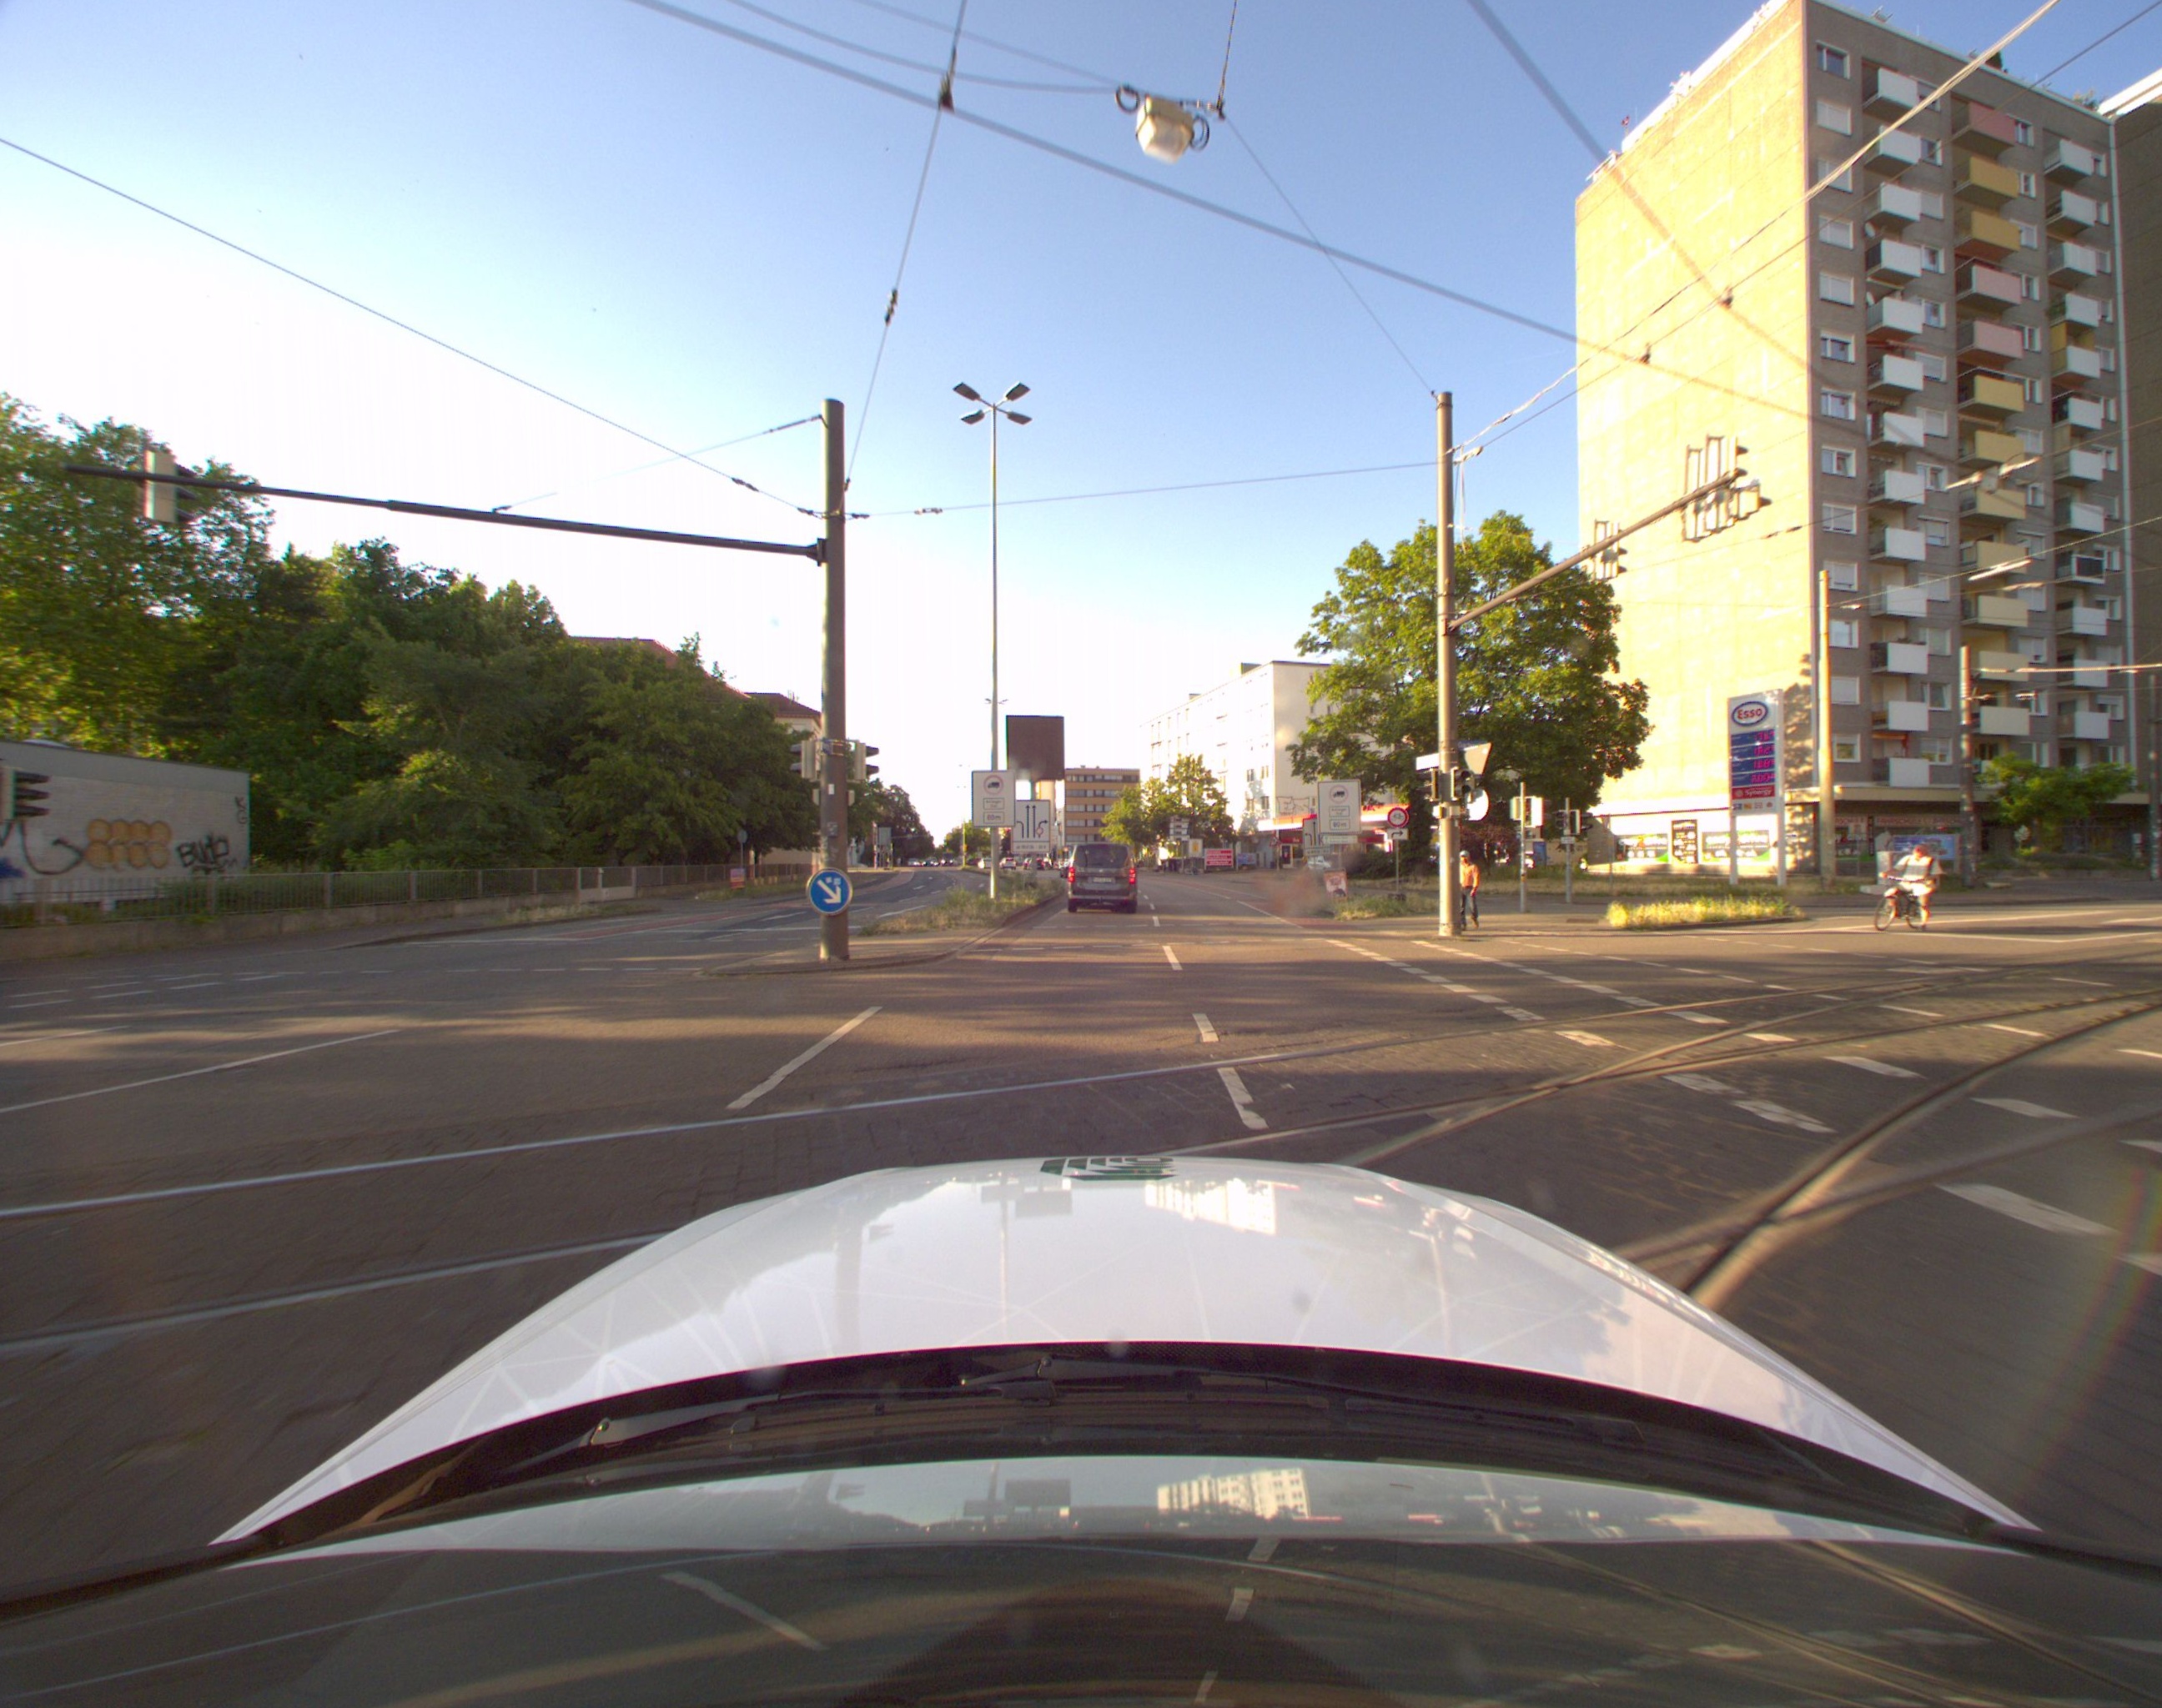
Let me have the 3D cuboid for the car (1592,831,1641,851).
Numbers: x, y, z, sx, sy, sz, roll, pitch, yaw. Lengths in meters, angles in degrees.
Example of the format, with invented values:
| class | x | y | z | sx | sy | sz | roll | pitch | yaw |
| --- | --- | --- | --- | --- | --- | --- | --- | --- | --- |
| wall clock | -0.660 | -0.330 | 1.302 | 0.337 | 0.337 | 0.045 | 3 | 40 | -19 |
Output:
| class | x | y | z | sx | sy | sz | roll | pitch | yaw |
| --- | --- | --- | --- | --- | --- | --- | --- | --- | --- |
| car | 56.230 | -1.332 | 85.541 | 1.998 | 2.014 | 3.978 | 0 | -1 | -16 |

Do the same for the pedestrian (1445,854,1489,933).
| class | x | y | z | sx | sy | sz | roll | pitch | yaw |
| --- | --- | --- | --- | --- | --- | --- | --- | --- | --- |
| pedestrian | 8.077 | 0.811 | 17.063 | 0.550 | 1.629 | 0.699 | 0 | -1 | -2 |

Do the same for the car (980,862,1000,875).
| class | x | y | z | sx | sy | sz | roll | pitch | yaw |
| --- | --- | --- | --- | --- | --- | --- | --- | --- | --- |
| car | -11.820 | 1.901 | 105.723 | 1.996 | 1.656 | 4.279 | 0 | -1 | -13 |

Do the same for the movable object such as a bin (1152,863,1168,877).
| class | x | y | z | sx | sy | sz | roll | pitch | yaw |
| --- | --- | --- | --- | --- | --- | --- | --- | --- | --- |
| movable object such as a bin | 8.026 | 1.589 | 83.019 | 1.459 | 1.386 | 1.545 | -1 | -1 | -3 |

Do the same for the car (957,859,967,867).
| class | x | y | z | sx | sy | sz | roll | pitch | yaw |
| --- | --- | --- | --- | --- | --- | --- | --- | --- | --- |
| car | -26.627 | 2.036 | 182.138 | 1.852 | 1.708 | 3.706 | 0 | 0 | -15 |

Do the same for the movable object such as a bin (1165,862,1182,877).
| class | x | y | z | sx | sy | sz | roll | pitch | yaw |
| --- | --- | --- | --- | --- | --- | --- | --- | --- | --- |
| movable object such as a bin | 9.045 | 1.515 | 79.711 | 1.459 | 1.454 | 1.545 | -1 | -1 | -3 |

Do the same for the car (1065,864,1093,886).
| class | x | y | z | sx | sy | sz | roll | pitch | yaw |
| --- | --- | --- | --- | --- | --- | --- | --- | --- | --- |
| car | -0.172 | 1.543 | 60.870 | 1.842 | 1.544 | 3.626 | 0 | 0 | -4 |

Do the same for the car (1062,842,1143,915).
| class | x | y | z | sx | sy | sz | roll | pitch | yaw |
| --- | --- | --- | --- | --- | --- | --- | --- | --- | --- |
| car | 0.712 | 0.666 | 23.397 | 1.984 | 1.901 | 4.305 | 1 | -1 | 6 |

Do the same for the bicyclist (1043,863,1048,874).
| class | x | y | z | sx | sy | sz | roll | pitch | yaw |
| --- | --- | --- | --- | --- | --- | --- | --- | --- | --- |
| bicyclist | -4.739 | 1.939 | 109.721 | 0.541 | 1.459 | 0.639 | 0 | -1 | -10 |

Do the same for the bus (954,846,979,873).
| class | x | y | z | sx | sy | sz | roll | pitch | yaw |
| --- | --- | --- | --- | --- | --- | --- | --- | --- | --- |
| bus | -20.651 | 1.084 | 146.142 | 3.294 | 4.617 | 9.952 | 1 | -1 | -14 |

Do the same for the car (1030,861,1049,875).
| class | x | y | z | sx | sy | sz | roll | pitch | yaw |
| --- | --- | --- | --- | --- | --- | --- | --- | --- | --- |
| car | -5.234 | 1.769 | 102.578 | 1.993 | 1.656 | 4.285 | -1 | -1 | -9 |

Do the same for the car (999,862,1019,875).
| class | x | y | z | sx | sy | sz | roll | pitch | yaw |
| --- | --- | --- | --- | --- | --- | --- | --- | --- | --- |
| car | -9.517 | 1.845 | 106.947 | 1.996 | 1.656 | 4.279 | 0 | -1 | -13 |

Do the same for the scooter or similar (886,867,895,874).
| class | x | y | z | sx | sy | sz | roll | pitch | yaw |
| --- | --- | --- | --- | --- | --- | --- | --- | --- | --- |
| scooter or similar | -25.965 | 2.217 | 110.758 | 1.103 | 0.976 | 0.555 | 1 | -1 | -21 |

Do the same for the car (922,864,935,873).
| class | x | y | z | sx | sy | sz | roll | pitch | yaw |
| --- | --- | --- | --- | --- | --- | --- | --- | --- | --- |
| car | -28.336 | 2.716 | 151.186 | 1.990 | 1.595 | 3.994 | 0 | 0 | -4 |

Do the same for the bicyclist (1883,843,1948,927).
| class | x | y | z | sx | sy | sz | roll | pitch | yaw |
| --- | --- | --- | --- | --- | --- | --- | --- | --- | --- |
| bicyclist | 16.159 | 0.580 | 15.781 | 0.696 | 1.583 | 0.633 | 0 | -1 | -20 |

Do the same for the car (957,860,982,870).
| class | x | y | z | sx | sy | sz | roll | pitch | yaw |
| --- | --- | --- | --- | --- | --- | --- | --- | --- | --- |
| car | -19.337 | 1.927 | 141.152 | 4.005 | 1.595 | 1.984 | 0 | -1 | -24 |

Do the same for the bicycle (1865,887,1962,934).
| class | x | y | z | sx | sy | sz | roll | pitch | yaw |
| --- | --- | --- | --- | --- | --- | --- | --- | --- | --- |
| bicycle | 16.122 | 1.075 | 15.763 | 1.815 | 0.829 | 0.618 | 0 | -1 | -20 |

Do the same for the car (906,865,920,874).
| class | x | y | z | sx | sy | sz | roll | pitch | yaw |
| --- | --- | --- | --- | --- | --- | --- | --- | --- | --- |
| car | -30.987 | 2.899 | 150.446 | 1.990 | 1.595 | 3.994 | 0 | 0 | -4 |

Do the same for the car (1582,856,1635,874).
| class | x | y | z | sx | sy | sz | roll | pitch | yaw |
| --- | --- | --- | --- | --- | --- | --- | --- | --- | --- |
| car | 41.744 | 0.874 | 64.566 | 1.571 | 1.381 | 3.423 | -1 | 0 | -13 |
